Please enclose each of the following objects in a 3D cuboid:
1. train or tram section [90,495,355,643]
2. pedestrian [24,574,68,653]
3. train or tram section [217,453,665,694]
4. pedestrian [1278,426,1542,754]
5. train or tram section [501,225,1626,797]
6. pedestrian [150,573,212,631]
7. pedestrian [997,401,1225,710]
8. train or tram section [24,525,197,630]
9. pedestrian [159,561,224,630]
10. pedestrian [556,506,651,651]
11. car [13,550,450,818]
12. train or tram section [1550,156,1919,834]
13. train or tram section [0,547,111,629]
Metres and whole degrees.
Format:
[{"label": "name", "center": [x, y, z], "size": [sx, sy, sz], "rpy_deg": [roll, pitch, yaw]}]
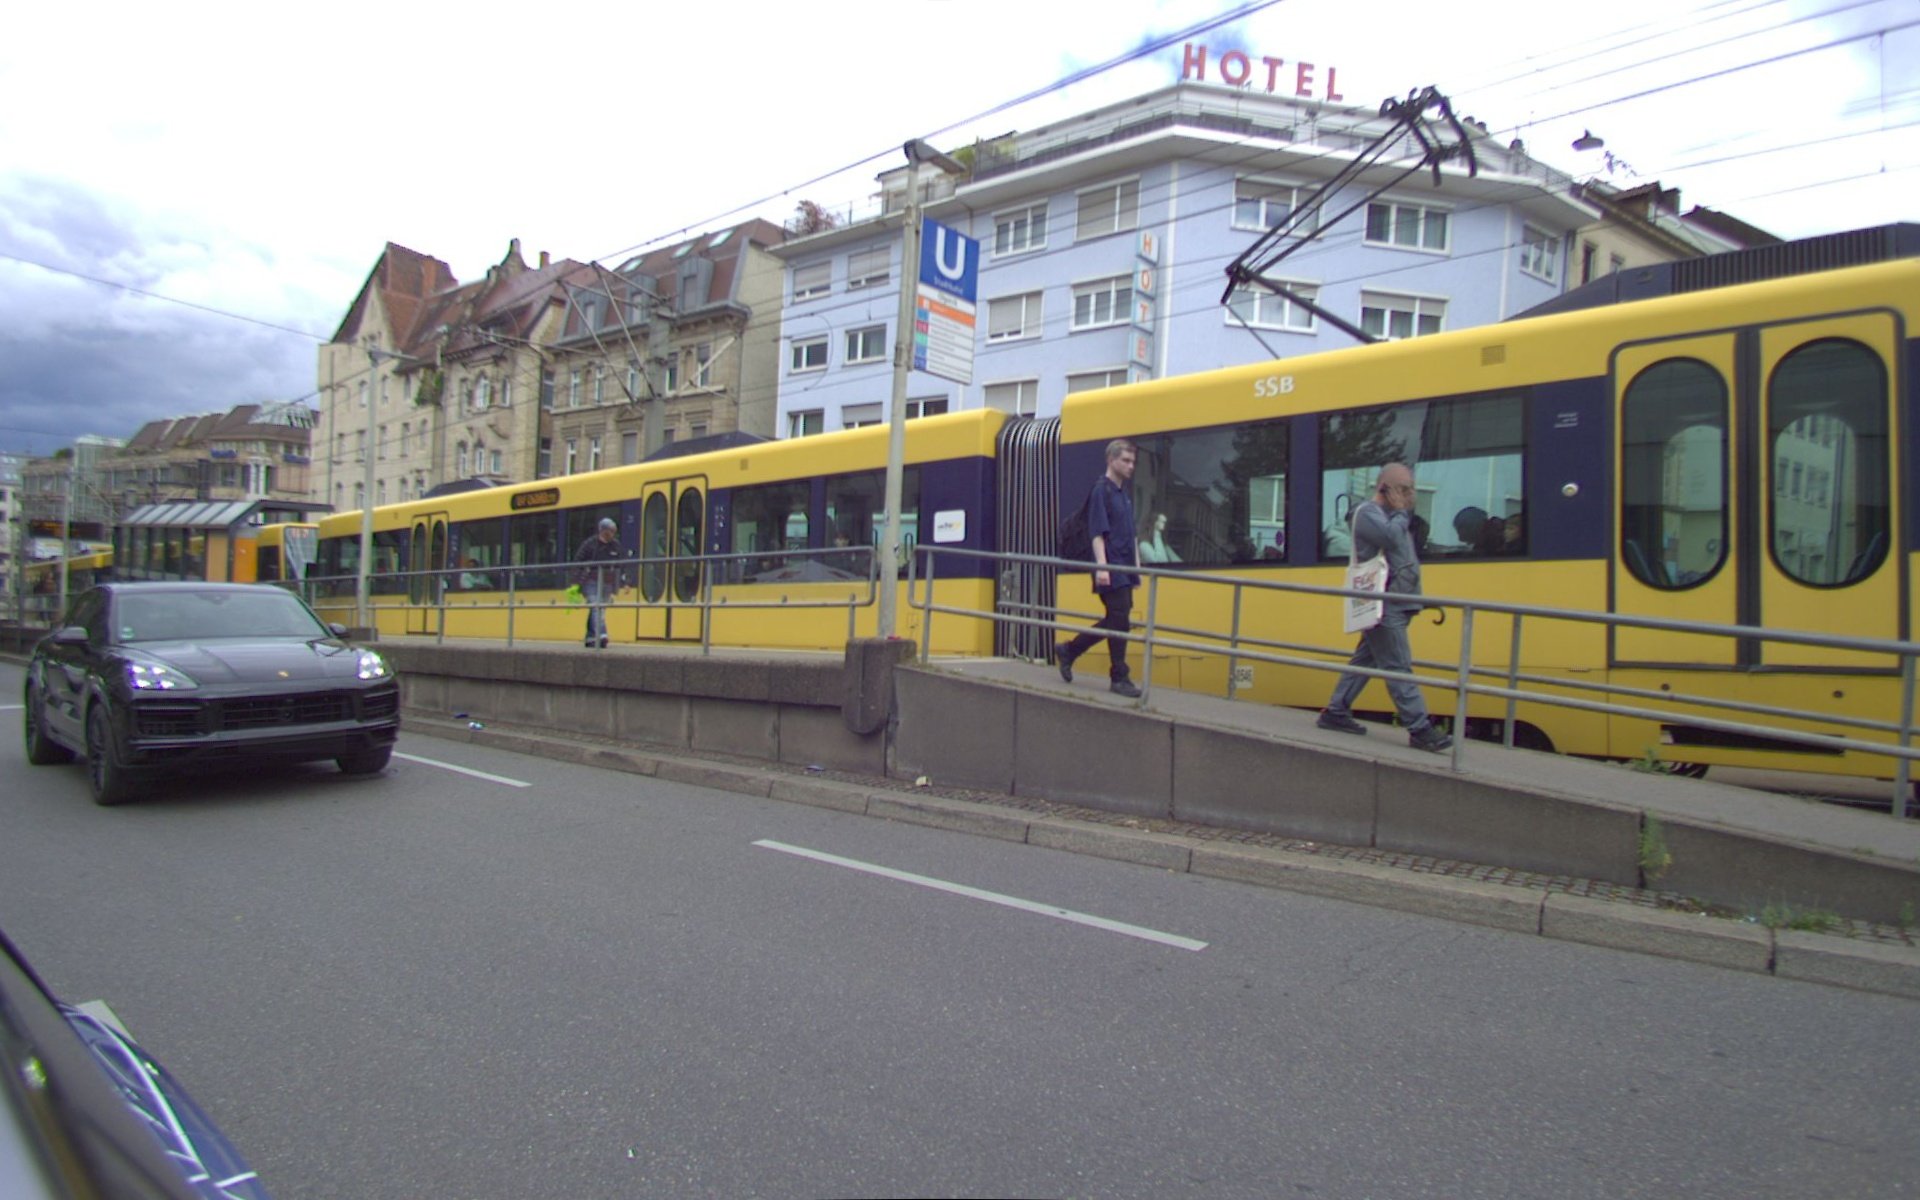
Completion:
[{"label": "train or tram section", "center": [-22.450, -0.710, 30.208], "size": [14.216, 3.585, 2.893], "rpy_deg": [0, -1, 40]}, {"label": "pedestrian", "center": [-27.142, 0.408, 30.052], "size": [0.772, 2.302, 0.827], "rpy_deg": [-1, -2, 40]}, {"label": "train or tram section", "center": [-11.552, -0.355, 21.074], "size": [14.215, 3.691, 2.853], "rpy_deg": [0, -1, 39]}, {"label": "pedestrian", "center": [2.668, -0.071, 5.978], "size": [1.041, 1.692, 1.105], "rpy_deg": [6, 2, 40]}, {"label": "train or tram section", "center": [-0.628, -0.508, 12.147], "size": [14.215, 3.691, 2.853], "rpy_deg": [0, -2, 39]}, {"label": "pedestrian", "center": [-16.201, 0.049, 21.042], "size": [0.778, 1.151, 0.841], "rpy_deg": [-1, -3, 41]}, {"label": "pedestrian", "center": [1.073, -0.297, 7.242], "size": [1.233, 1.984, 0.920], "rpy_deg": [3, 0, 40]}, {"label": "train or tram section", "center": [-33.316, -0.697, 39.329], "size": [14.220, 3.467, 2.852], "rpy_deg": [-1, 0, 41]}, {"label": "pedestrian", "center": [-15.254, -0.072, 20.095], "size": [0.778, 1.316, 0.841], "rpy_deg": [-1, -3, 41]}, {"label": "pedestrian", "center": [-4.099, -0.228, 11.651], "size": [0.665, 1.596, 0.770], "rpy_deg": [-1, -2, 40]}, {"label": "car", "center": [-6.476, 0.566, 8.767], "size": [4.778, 1.698, 2.006], "rpy_deg": [-1, -1, 41]}, {"label": "train or tram section", "center": [10.335, -0.582, 3.128], "size": [14.461, 3.691, 2.853], "rpy_deg": [0, -2, 39]}, {"label": "train or tram section", "center": [-44.138, -0.459, 48.606], "size": [14.220, 3.445, 2.852], "rpy_deg": [-1, 0, 41]}]
